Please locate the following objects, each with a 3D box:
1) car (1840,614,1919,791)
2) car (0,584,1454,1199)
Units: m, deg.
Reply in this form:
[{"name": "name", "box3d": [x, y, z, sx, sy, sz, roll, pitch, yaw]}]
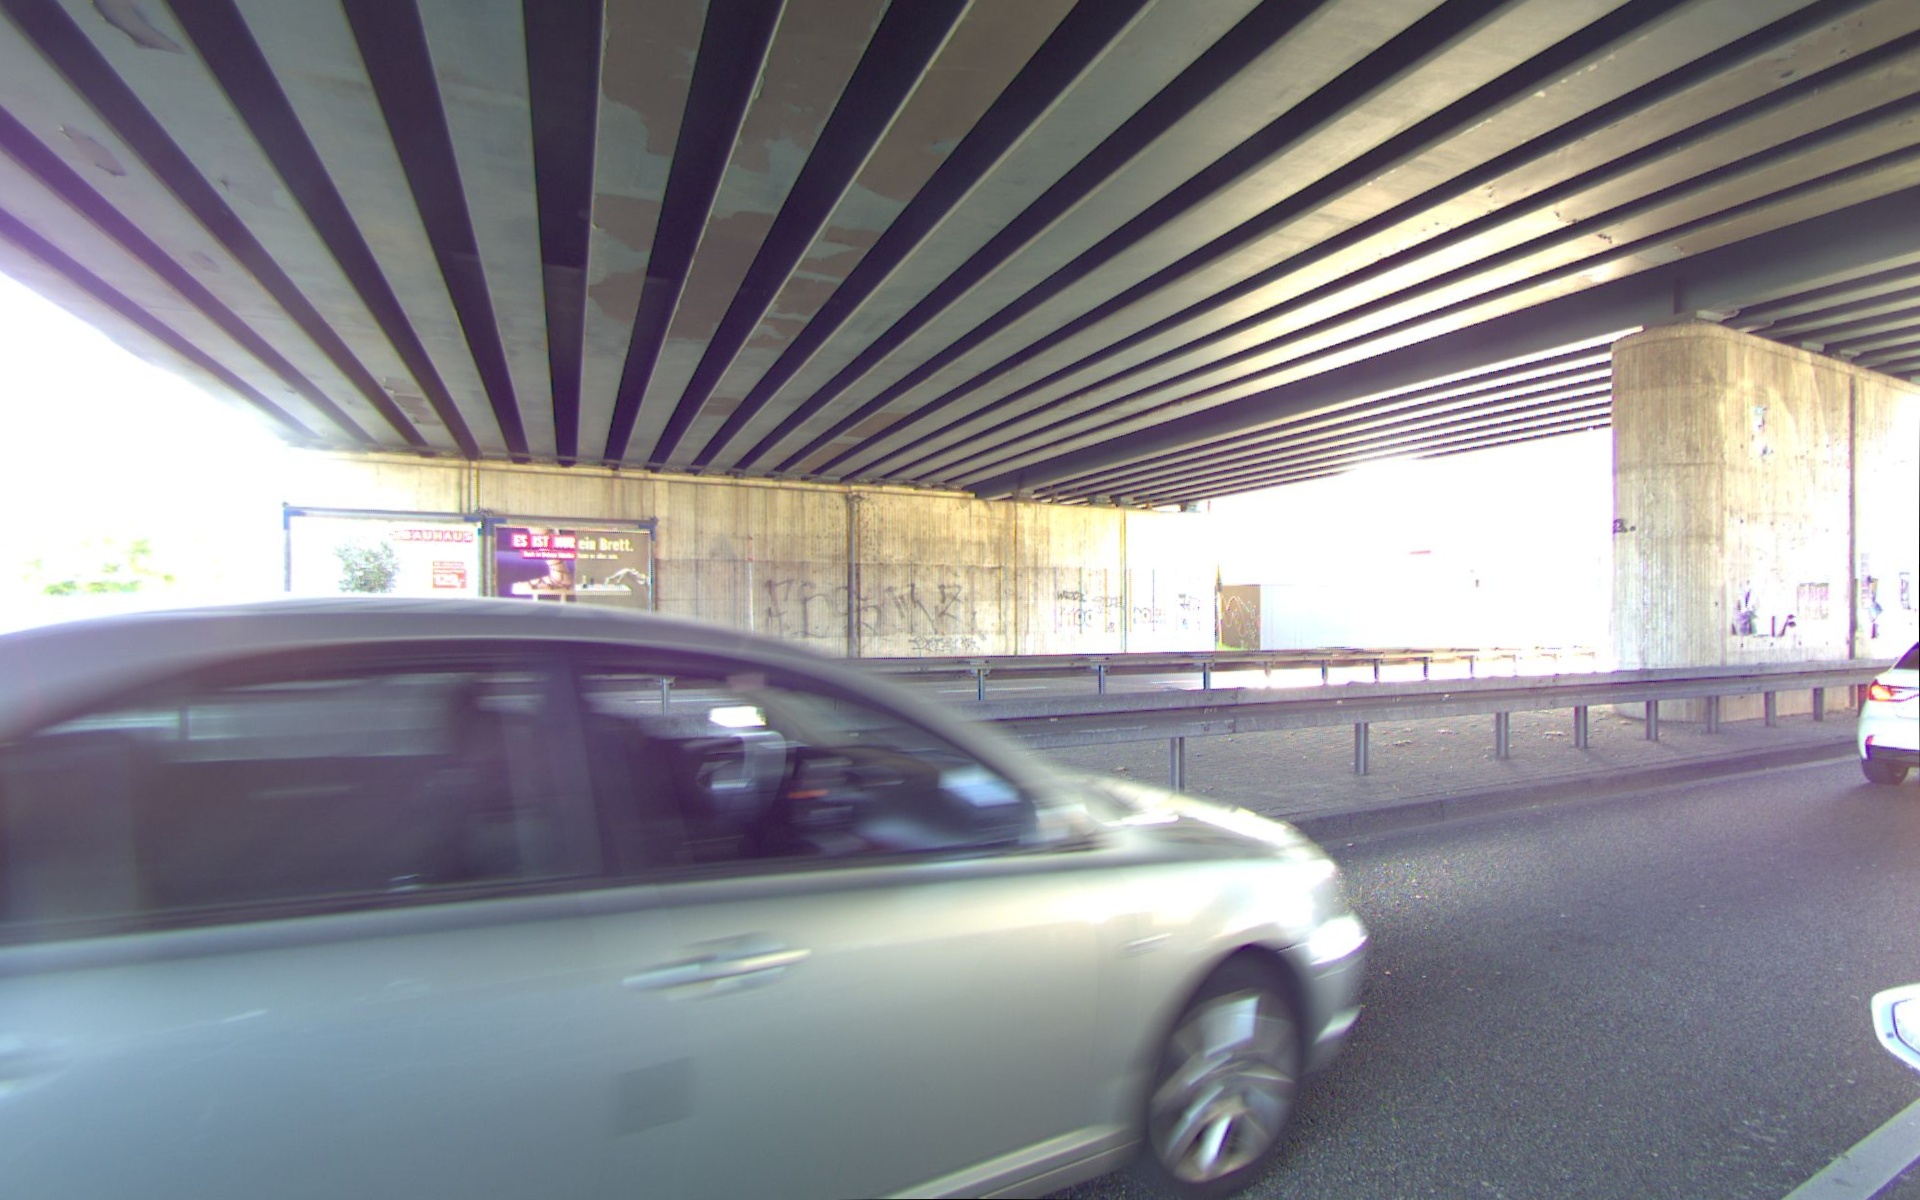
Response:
[{"name": "car", "box3d": [9.627, 0.879, 8.884, 3.769, 1.429, 1.684, 1, 0, -31]}, {"name": "car", "box3d": [-0.840, 0.729, 2.373, 4.353, 1.474, 1.686, 1, 0, -35]}]
